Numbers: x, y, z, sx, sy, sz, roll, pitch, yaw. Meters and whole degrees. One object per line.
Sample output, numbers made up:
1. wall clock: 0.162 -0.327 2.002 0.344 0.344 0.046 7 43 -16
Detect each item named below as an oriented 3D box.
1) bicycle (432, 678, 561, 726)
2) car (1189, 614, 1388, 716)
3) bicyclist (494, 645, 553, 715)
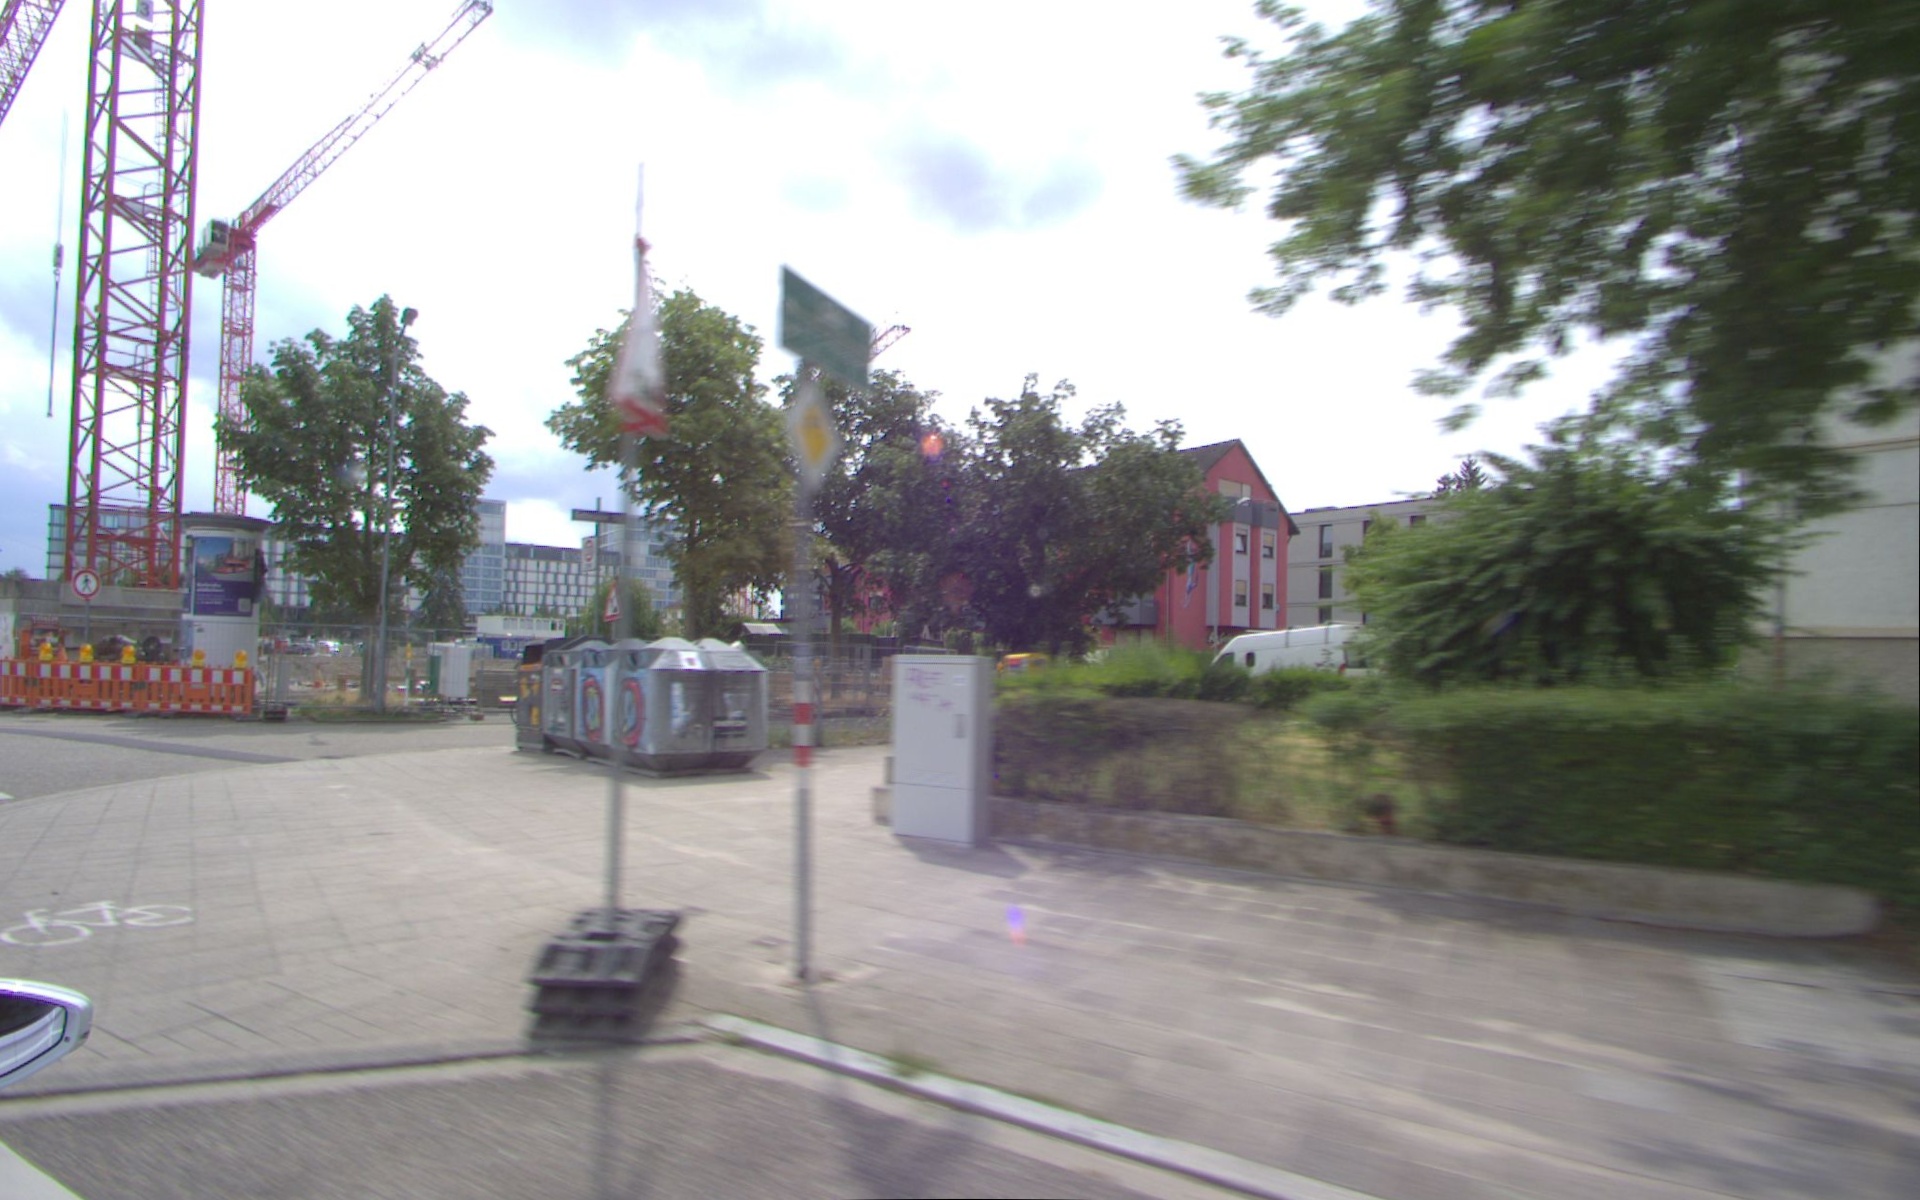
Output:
1. bicycle: -9.989 2.208 21.671 2.441 0.944 0.712 4 -3 -25
2. car: 8.883 1.842 27.523 1.880 2.481 5.073 6 -7 -36
3. bicyclist: -9.543 1.750 21.894 1.065 1.429 0.712 6 -4 -25
